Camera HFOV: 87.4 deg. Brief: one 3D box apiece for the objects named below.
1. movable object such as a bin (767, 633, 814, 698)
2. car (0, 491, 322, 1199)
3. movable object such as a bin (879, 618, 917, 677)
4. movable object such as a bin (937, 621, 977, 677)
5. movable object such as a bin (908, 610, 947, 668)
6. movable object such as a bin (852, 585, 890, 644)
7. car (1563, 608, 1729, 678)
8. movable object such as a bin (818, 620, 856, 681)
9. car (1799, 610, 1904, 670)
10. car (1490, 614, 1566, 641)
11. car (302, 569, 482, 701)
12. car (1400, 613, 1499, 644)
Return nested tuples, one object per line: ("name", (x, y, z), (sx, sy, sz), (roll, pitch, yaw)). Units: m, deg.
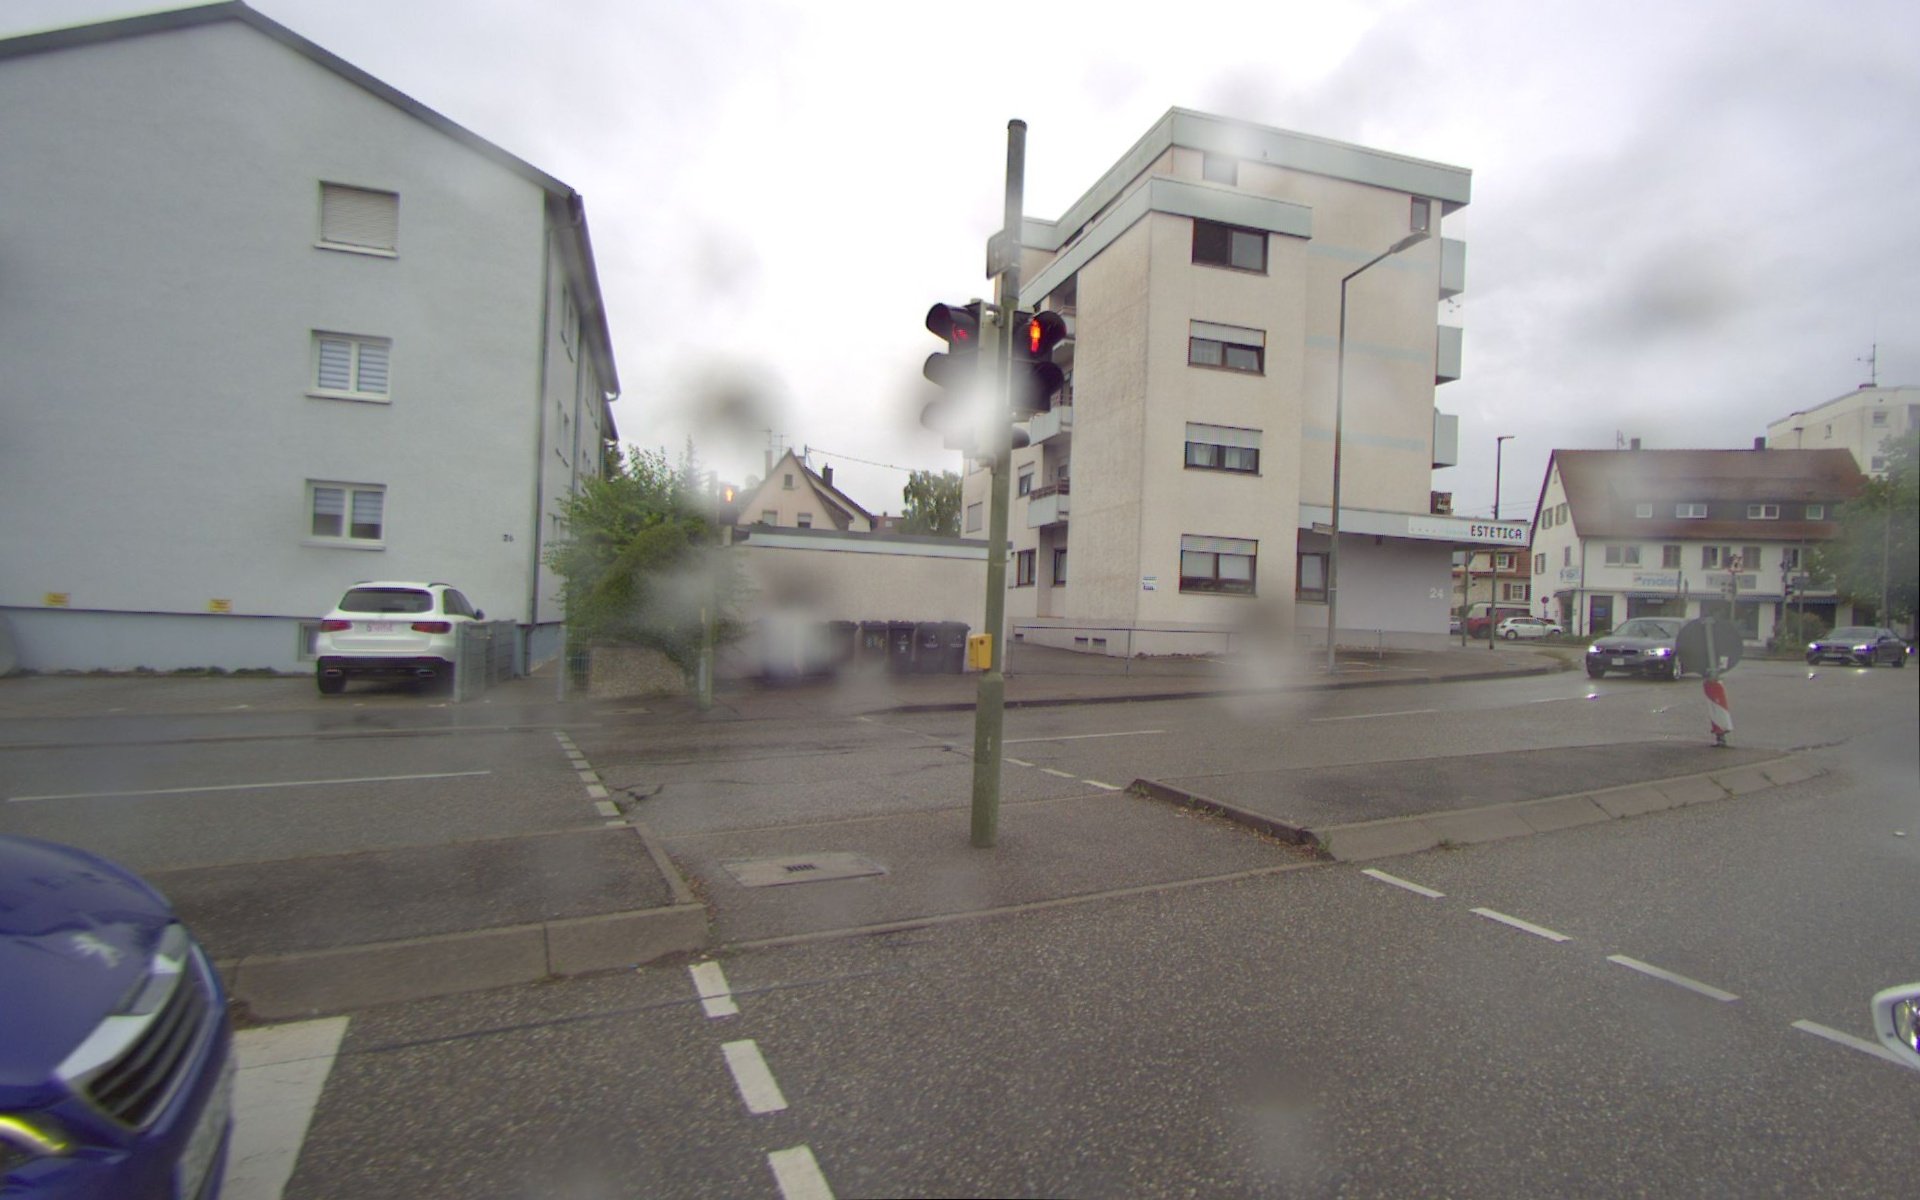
("movable object such as a bin", (-2.920, 1.125, 17.266), (0.677, 1.032, 0.498), (3, 4, -18))
("car", (-2.770, 0.618, 1.142), (3.311, 1.577, 1.640), (2, 0, -29))
("movable object such as a bin", (-1.108, 0.839, 17.879), (0.526, 0.974, 0.498), (3, 4, -18))
("movable object such as a bin", (-0.056, 0.888, 18.271), (0.592, 0.974, 0.498), (1, 0, -18))
("movable object such as a bin", (-0.581, 0.699, 18.030), (0.526, 0.974, 0.498), (3, 4, -18))
("movable object such as a bin", (-1.569, 0.258, 17.699), (0.526, 0.974, 0.498), (3, 4, -18))
("car", (16.298, 1.004, 23.821), (4.118, 1.492, 1.777), (2, 0, -33))
("movable object such as a bin", (-2.145, 0.876, 17.508), (0.526, 0.974, 0.498), (3, 4, -18))
("car", (33.160, 1.470, 37.312), (5.930, 2.040, 2.073), (2, -2, -40))
("car", (36.919, 1.789, 65.399), (3.921, 1.546, 2.000), (2, 0, 19))
("car", (-8.658, 0.478, 15.667), (1.802, 1.773, 3.981), (1, 0, -21))
("car", (33.549, 1.953, 68.971), (5.734, 1.867, 2.001), (2, 0, 12))
